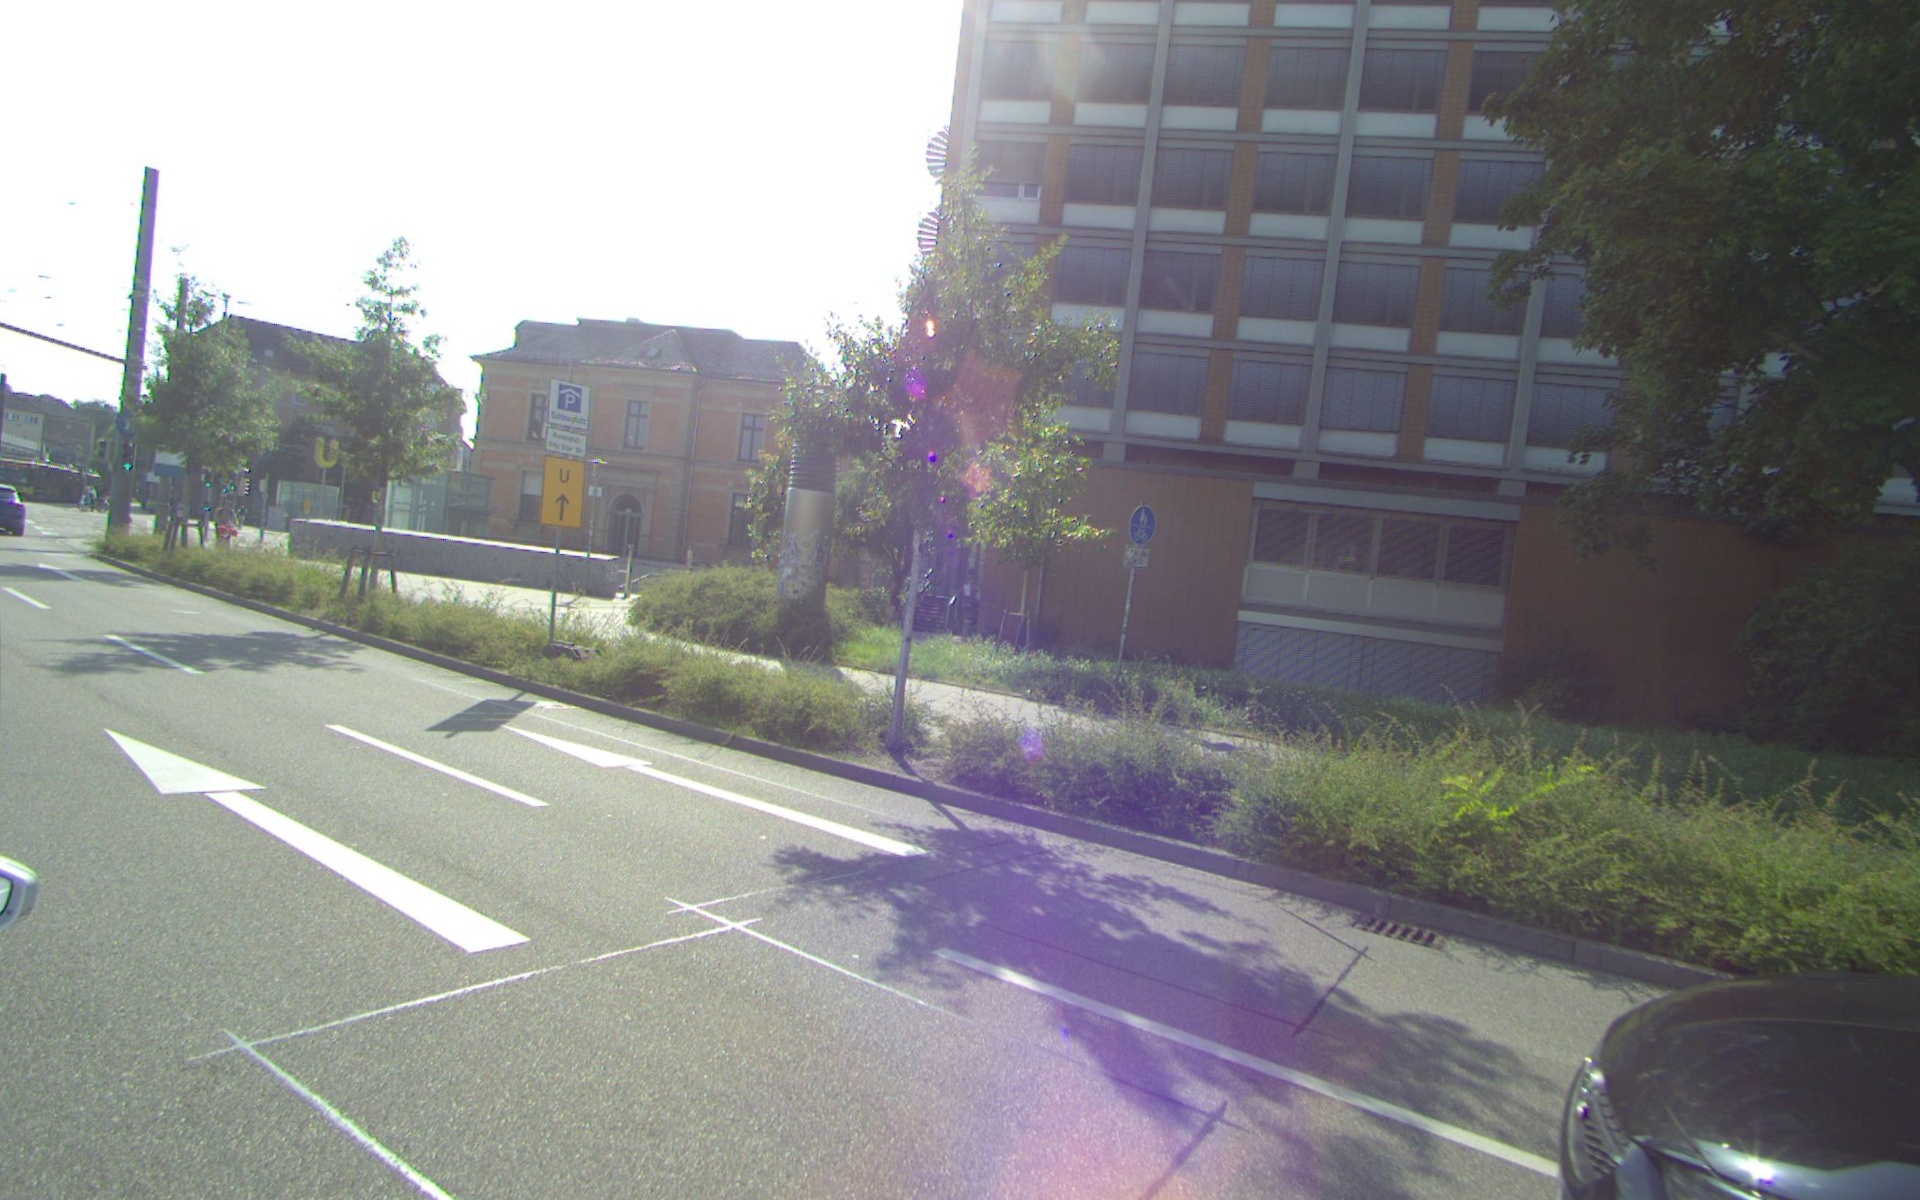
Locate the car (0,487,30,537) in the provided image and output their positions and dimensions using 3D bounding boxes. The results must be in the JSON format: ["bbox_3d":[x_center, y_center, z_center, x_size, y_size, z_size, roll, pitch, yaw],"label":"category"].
[{"bbox_3d":[-31.464,-2.973,32.531,1.820,1.446,4.355,6,1,-45],"label":"car"}]

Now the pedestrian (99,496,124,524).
[{"bbox_3d":[-59.949,-6.355,71.087,0.844,1.820,0.927,7,1,-1],"label":"pedestrian"}]

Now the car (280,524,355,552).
[{"bbox_3d":[-46.400,-4.447,72.731,1.985,1.414,4.390,7,0,12],"label":"car"}]

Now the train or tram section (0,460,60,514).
[{"bbox_3d":[-74.174,-8.890,79.805,2.638,3.746,10.487,6,1,-35],"label":"train or tram section"}]

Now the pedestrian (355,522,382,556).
[{"bbox_3d":[-32.178,-3.299,54.711,0.908,1.711,0.835,7,1,-14],"label":"pedestrian"}]

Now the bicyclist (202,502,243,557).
[{"bbox_3d":[-22.211,-2.127,30.295,0.991,1.532,0.717,7,1,44],"label":"bicyclist"}]

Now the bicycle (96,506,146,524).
[{"bbox_3d":[-61.311,-6.201,73.544,1.072,0.976,2.627,7,0,16],"label":"bicycle"}]

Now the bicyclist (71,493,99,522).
[{"bbox_3d":[-61.551,-6.518,70.740,1.072,1.822,0.937,7,1,16],"label":"bicyclist"}]

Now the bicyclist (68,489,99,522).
[{"bbox_3d":[-60.077,-6.470,68.970,1.072,2.050,0.937,7,1,2],"label":"bicyclist"}]

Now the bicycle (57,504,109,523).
[{"bbox_3d":[-60.135,-5.922,69.026,1.073,0.976,2.627,7,0,2],"label":"bicycle"}]

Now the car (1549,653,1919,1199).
[{"bbox_3d":[3.161,1.125,1.028,4.300,1.509,1.686,7,-1,32],"label":"car"}]

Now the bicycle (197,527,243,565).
[{"bbox_3d":[-22.336,-1.627,30.362,1.895,0.972,0.718,7,1,43],"label":"bicycle"}]

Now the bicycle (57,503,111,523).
[{"bbox_3d":[-61.599,-6.094,70.766,1.072,0.976,2.627,7,0,16],"label":"bicycle"}]

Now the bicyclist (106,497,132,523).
[{"bbox_3d":[-61.314,-6.577,73.346,1.072,1.701,0.937,7,1,16],"label":"bicyclist"}]

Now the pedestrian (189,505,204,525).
[{"bbox_3d":[-61.114,-6.826,80.542,0.537,1.489,0.667,6,1,-5],"label":"pedestrian"}]

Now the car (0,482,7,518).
[{"bbox_3d":[-41.328,-4.360,42.025,4.351,1.446,1.822,7,1,42],"label":"car"}]
